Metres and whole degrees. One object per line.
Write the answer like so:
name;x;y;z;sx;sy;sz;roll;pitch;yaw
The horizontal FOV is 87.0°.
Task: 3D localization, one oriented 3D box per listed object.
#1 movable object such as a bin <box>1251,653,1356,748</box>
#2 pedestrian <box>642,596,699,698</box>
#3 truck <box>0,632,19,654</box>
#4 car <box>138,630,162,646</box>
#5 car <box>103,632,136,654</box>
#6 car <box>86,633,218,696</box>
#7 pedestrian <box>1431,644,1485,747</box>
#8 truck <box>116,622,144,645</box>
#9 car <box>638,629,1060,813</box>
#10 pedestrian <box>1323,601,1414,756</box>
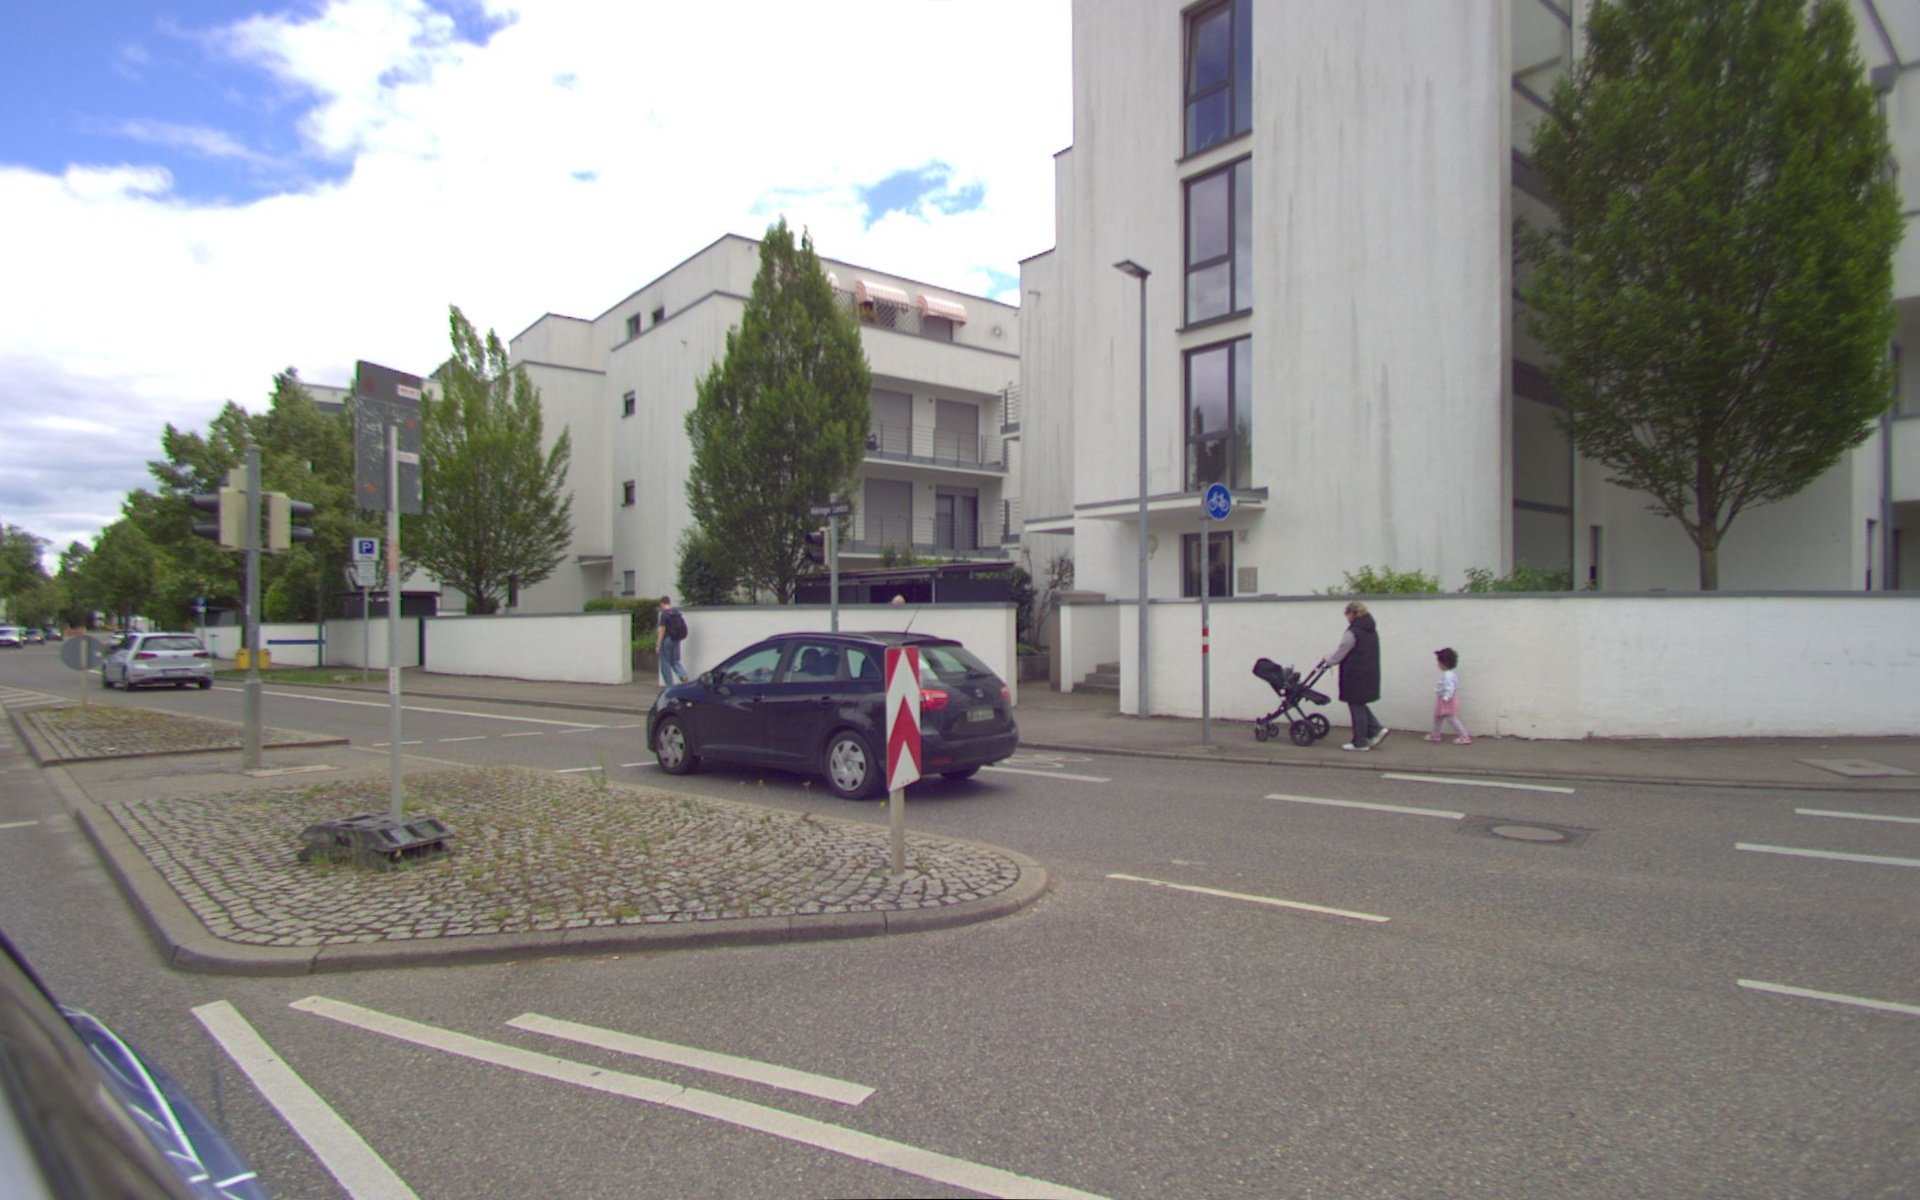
movable object such as a bin;3.861;1.109;11.385;0.985;0.967;0.492;-2;3;38
pedestrian;-5.752;0.919;20.111;0.871;1.962;0.642;-1;1;40
truck;-80.021;3.628;84.697;1.591;1.804;4.006;2;-3;-40
car;-83.364;3.936;104.200;1.860;1.628;4.008;1;-2;-38
car;-67.817;3.445;81.692;1.887;1.665;4.008;1;-2;-38
car;-20.640;1.579;25.810;3.943;1.455;1.781;-1;-2;38
pedestrian;5.404;1.021;10.980;0.443;1.070;0.322;-2;-1;38
truck;-101.163;4.043;123.367;2.601;2.794;6.268;1;-1;-39
car;-1.159;0.986;9.638;3.912;1.401;1.704;-1;-2;37
pedestrian;4.371;0.818;10.824;0.731;1.554;0.526;-2;3;38
